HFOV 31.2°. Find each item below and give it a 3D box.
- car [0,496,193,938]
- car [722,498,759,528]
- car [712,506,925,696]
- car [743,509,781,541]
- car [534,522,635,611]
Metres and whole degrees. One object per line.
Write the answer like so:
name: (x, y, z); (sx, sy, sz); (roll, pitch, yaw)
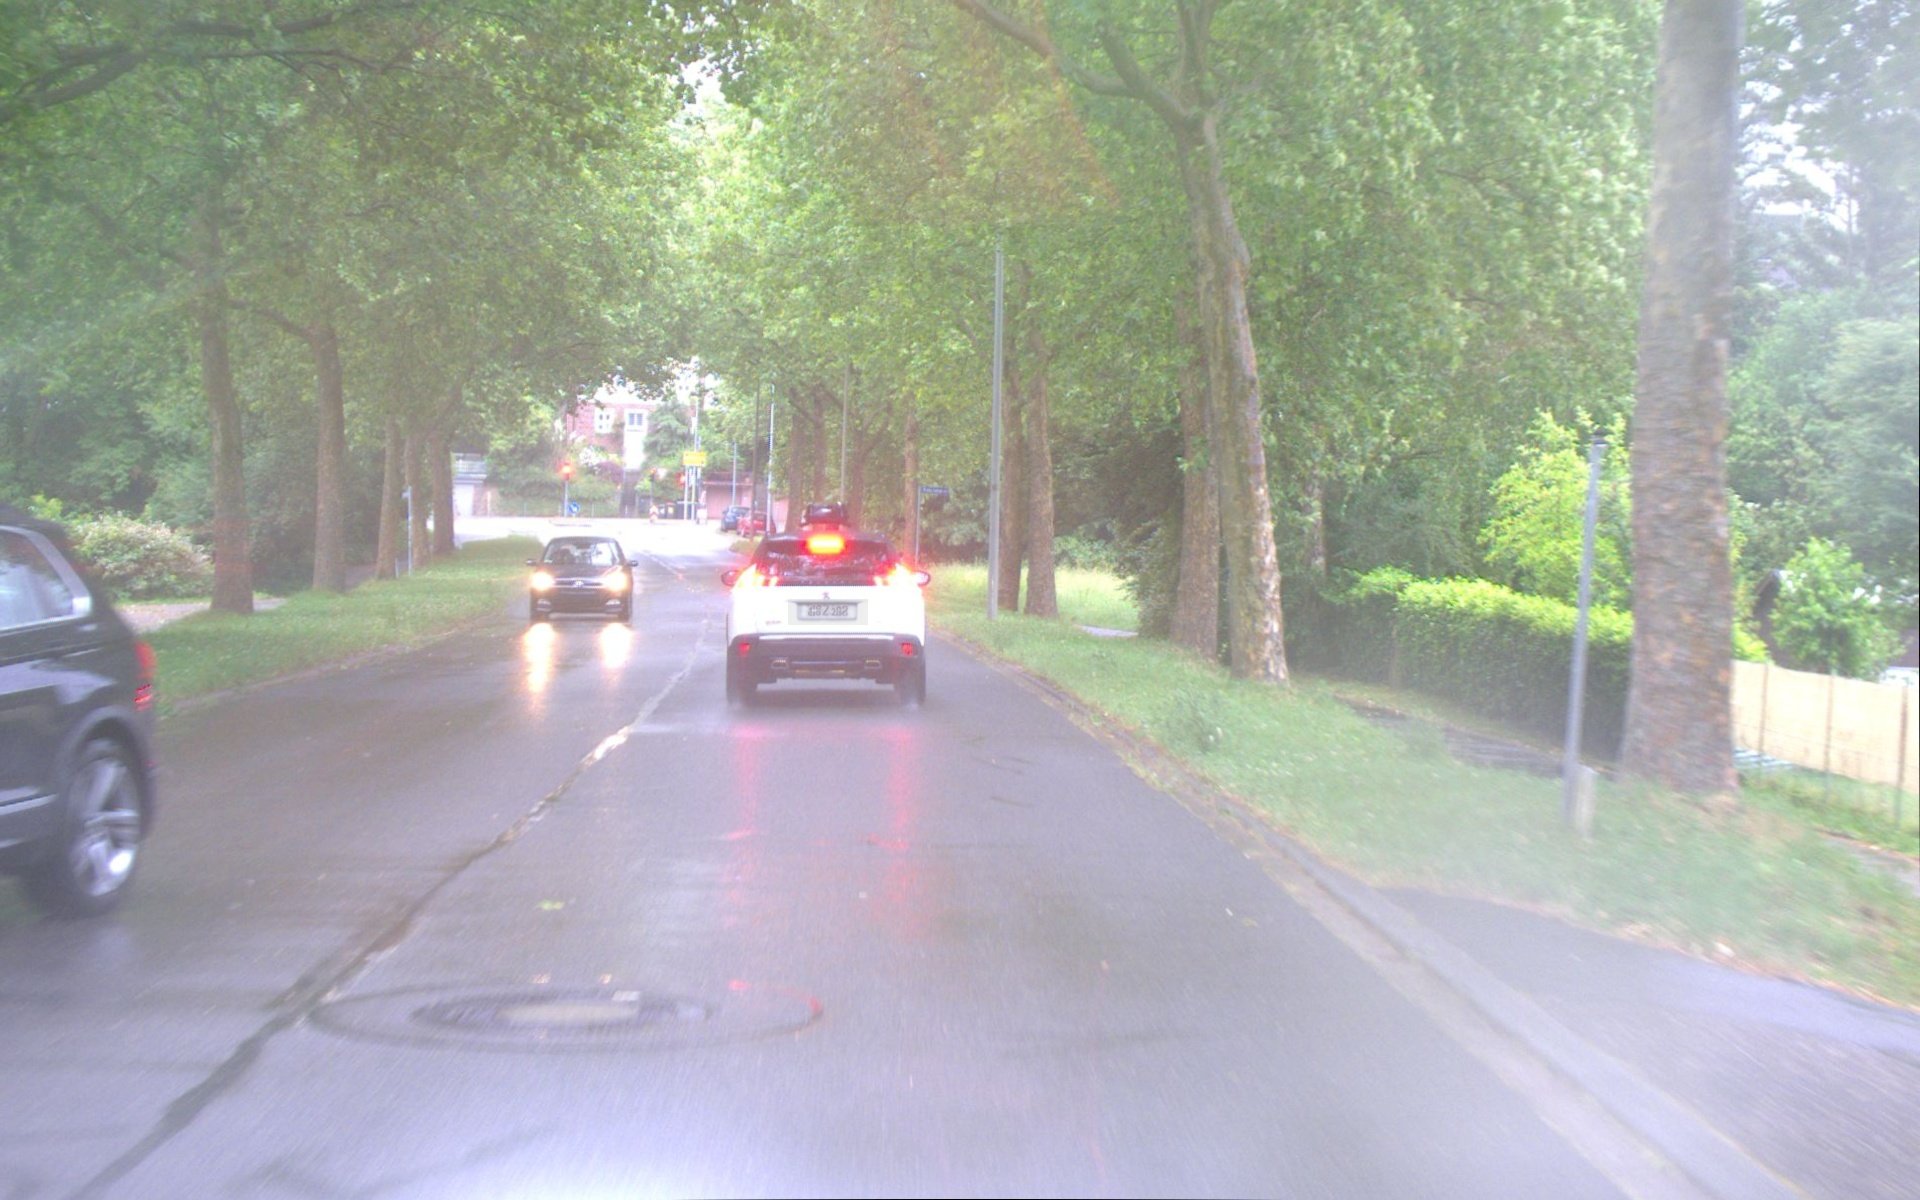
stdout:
car: (-4.380, 0.408, 11.907); (1.732, 1.582, 4.308); (1, 1, 12)
car: (-12.143, -4.806, 190.263); (1.827, 1.590, 3.654); (1, 1, -1)
car: (-1.237, -0.042, 31.486); (1.794, 1.573, 3.845); (1, 2, -1)
car: (-10.417, -3.941, 180.864); (1.827, 1.590, 3.654); (1, 1, -1)
car: (-6.645, -0.612, 61.012); (1.706, 1.481, 3.882); (1, 1, -6)
